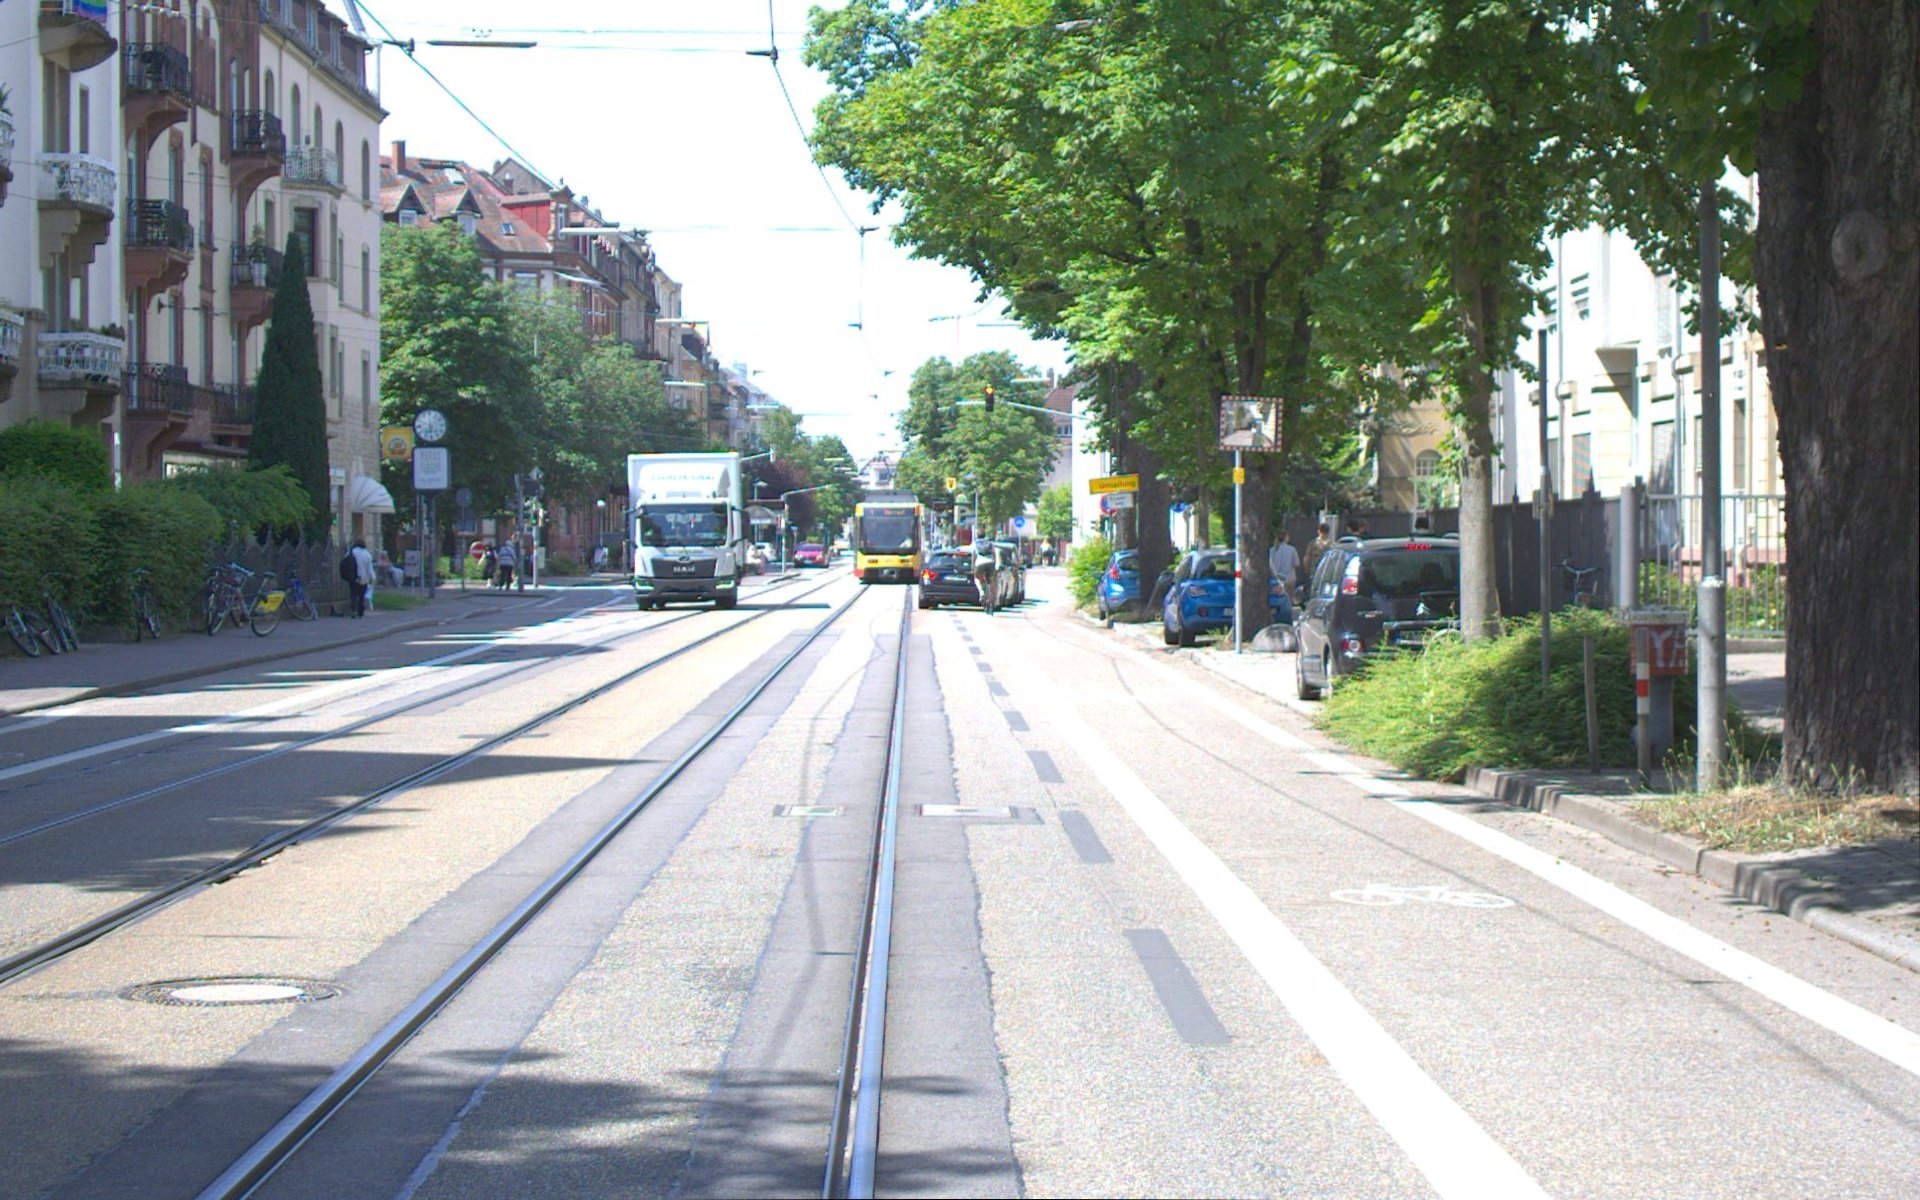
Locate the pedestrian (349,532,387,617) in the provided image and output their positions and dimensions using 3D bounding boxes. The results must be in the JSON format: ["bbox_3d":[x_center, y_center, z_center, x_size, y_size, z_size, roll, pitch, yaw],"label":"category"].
[{"bbox_3d":[-11.237,-0.485,65.277,0.572,1.610,0.817,0,1,0],"label":"pedestrian"}]

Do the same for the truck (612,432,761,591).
[{"bbox_3d":[-6.361,-2.093,81.228,2.939,3.538,8.453,0,1,-1],"label":"truck"}]

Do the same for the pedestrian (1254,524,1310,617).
[{"bbox_3d":[5.321,-0.483,56.845,0.809,1.525,0.623,0,-1,17],"label":"pedestrian"}]

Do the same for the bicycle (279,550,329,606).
[{"bbox_3d":[-11.857,-0.404,62.183,0.543,0.966,1.781,1,1,0],"label":"bicycle"}]

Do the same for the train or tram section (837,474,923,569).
[{"bbox_3d":[-2.956,-2.969,130.411,3.035,3.426,11.971,0,1,0],"label":"train or tram section"}]

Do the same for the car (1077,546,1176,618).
[{"bbox_3d":[3.418,-0.391,71.279,1.710,1.418,4.310,-1,1,-1],"label":"car"}]

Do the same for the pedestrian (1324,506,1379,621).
[{"bbox_3d":[6.379,-0.590,55.969,0.808,1.853,0.576,0,-1,-2],"label":"pedestrian"}]

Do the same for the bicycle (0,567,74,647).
[{"bbox_3d":[-11.568,0.073,42.837,0.543,0.966,1.990,1,1,0],"label":"bicycle"}]

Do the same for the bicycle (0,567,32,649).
[{"bbox_3d":[-11.559,0.088,40.864,0.543,0.966,1.822,1,0,0],"label":"bicycle"}]

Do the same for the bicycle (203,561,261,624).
[{"bbox_3d":[-11.743,-0.129,55.484,0.543,0.966,1.781,1,2,0],"label":"bicycle"}]

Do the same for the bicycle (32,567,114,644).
[{"bbox_3d":[-11.562,0.076,44.868,0.543,0.966,1.990,1,0,0],"label":"bicycle"}]

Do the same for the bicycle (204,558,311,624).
[{"bbox_3d":[-10.735,-0.128,52.597,0.544,0.966,1.778,1,0,29],"label":"bicycle"}]

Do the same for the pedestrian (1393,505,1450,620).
[{"bbox_3d":[7.458,-0.601,55.595,0.808,1.853,0.623,0,-1,-2],"label":"pedestrian"}]

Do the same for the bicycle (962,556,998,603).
[{"bbox_3d":[0.428,-0.422,72.866,0.639,0.966,1.780,1,0,3],"label":"bicycle"}]

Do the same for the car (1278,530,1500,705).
[{"bbox_3d":[4.171,0.133,33.909,1.592,1.611,3.908,-1,1,-1],"label":"car"}]

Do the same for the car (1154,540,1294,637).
[{"bbox_3d":[4.021,-0.200,53.006,1.710,1.418,4.310,-1,1,-1],"label":"car"}]

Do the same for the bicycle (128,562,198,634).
[{"bbox_3d":[-11.579,-0.040,50.003,0.543,0.966,1.990,1,2,0],"label":"bicycle"}]

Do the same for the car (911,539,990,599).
[{"bbox_3d":[-0.234,-0.727,79.044,1.781,1.341,3.416,0,1,-1],"label":"car"}]

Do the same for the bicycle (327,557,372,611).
[{"bbox_3d":[-11.818,-0.315,66.584,0.543,0.966,1.781,1,2,0],"label":"bicycle"}]

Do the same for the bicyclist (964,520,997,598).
[{"bbox_3d":[0.445,-0.869,72.947,0.622,1.610,0.865,1,-1,3],"label":"bicyclist"}]

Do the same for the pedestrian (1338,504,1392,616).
[{"bbox_3d":[6.780,-0.668,57.547,0.808,1.853,0.623,0,-1,-2],"label":"pedestrian"}]

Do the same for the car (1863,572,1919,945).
[{"bbox_3d":[4.549,0.617,11.732,1.710,1.418,4.244,-1,1,-1],"label":"car"}]
